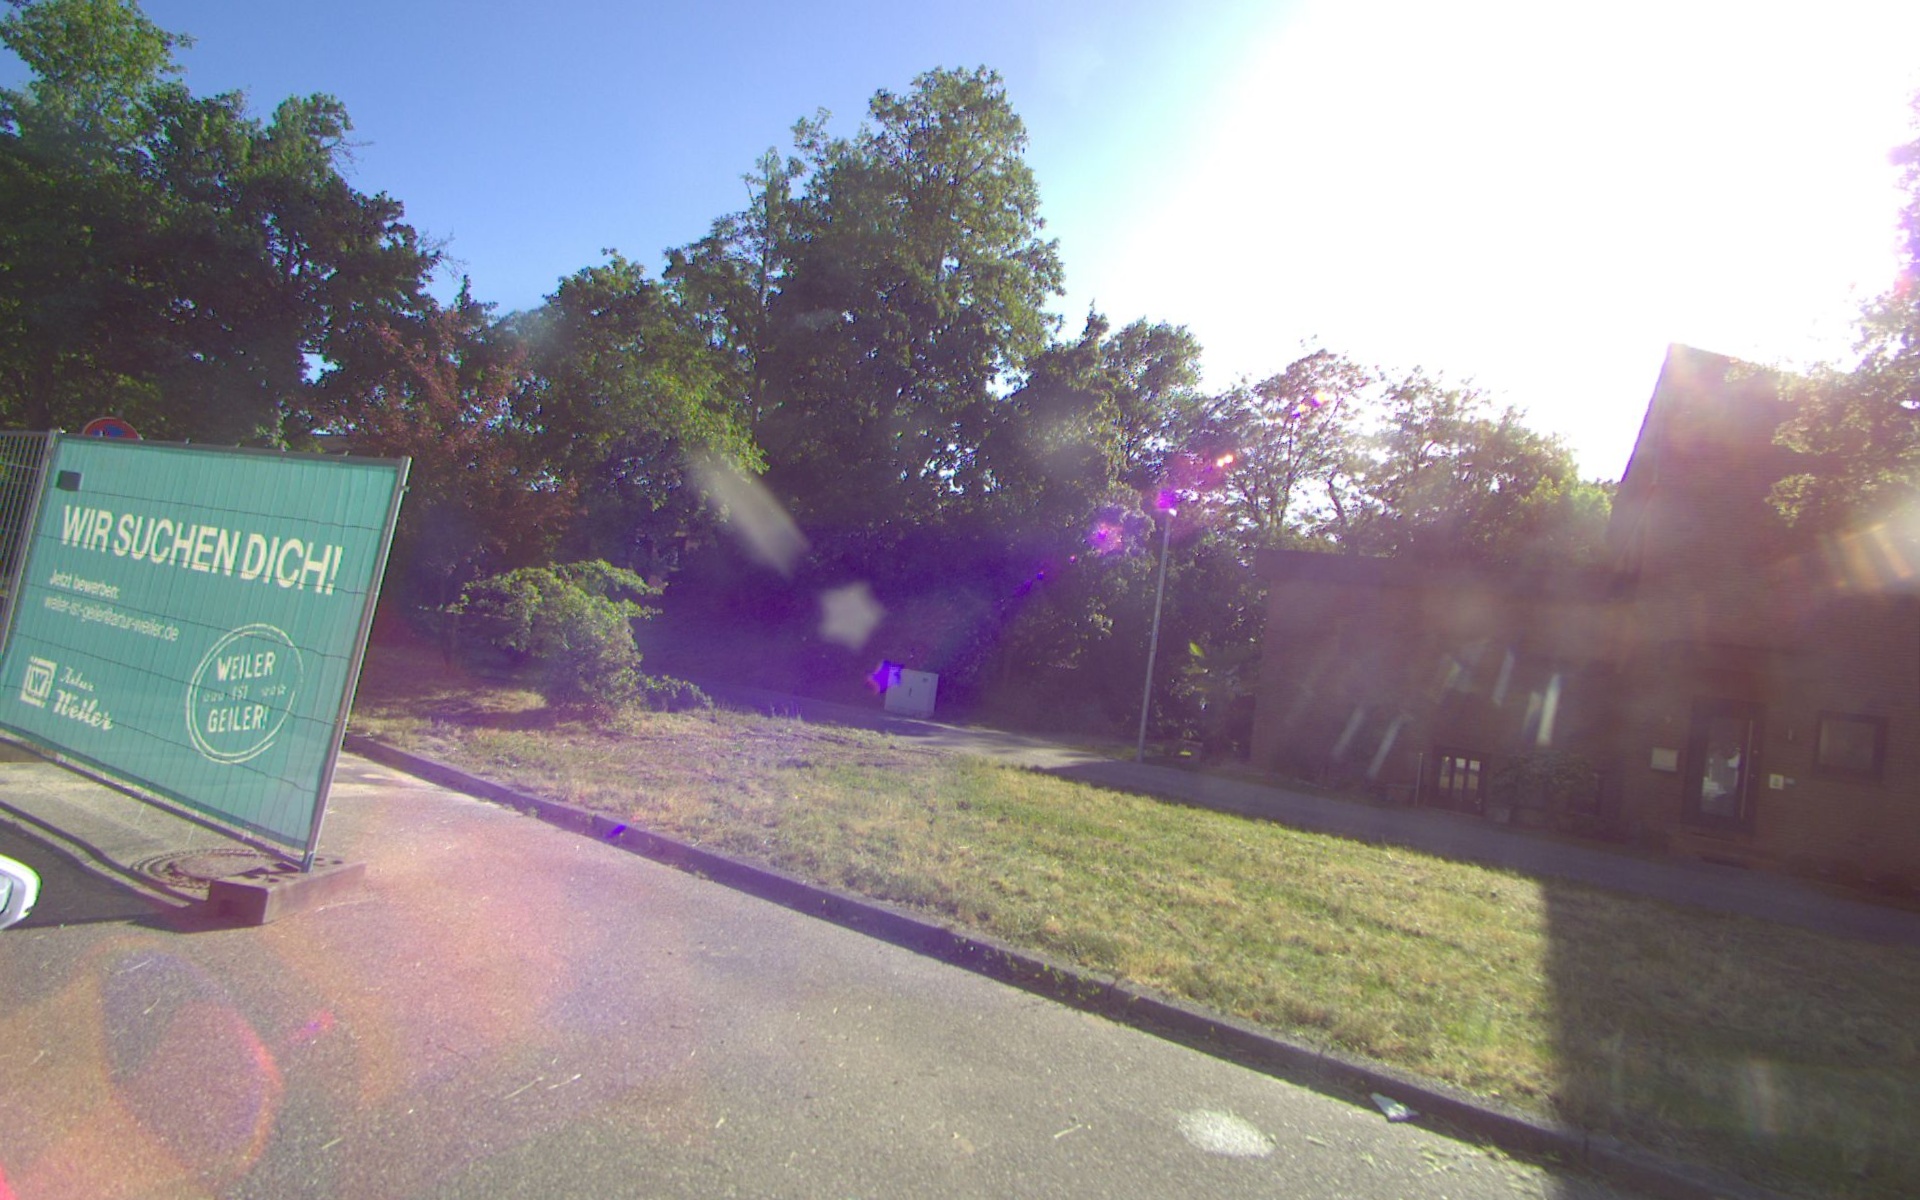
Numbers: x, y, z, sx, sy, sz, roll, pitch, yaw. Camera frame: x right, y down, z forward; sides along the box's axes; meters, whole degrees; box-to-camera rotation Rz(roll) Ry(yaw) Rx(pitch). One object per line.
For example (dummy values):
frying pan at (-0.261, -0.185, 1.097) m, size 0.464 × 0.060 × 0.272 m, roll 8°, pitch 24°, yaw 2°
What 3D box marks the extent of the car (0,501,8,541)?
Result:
car at (-13.941, -0.695, 12.677) m, size 4.351 × 1.667 × 1.815 m, roll 6°, pitch -5°, yaw 35°
